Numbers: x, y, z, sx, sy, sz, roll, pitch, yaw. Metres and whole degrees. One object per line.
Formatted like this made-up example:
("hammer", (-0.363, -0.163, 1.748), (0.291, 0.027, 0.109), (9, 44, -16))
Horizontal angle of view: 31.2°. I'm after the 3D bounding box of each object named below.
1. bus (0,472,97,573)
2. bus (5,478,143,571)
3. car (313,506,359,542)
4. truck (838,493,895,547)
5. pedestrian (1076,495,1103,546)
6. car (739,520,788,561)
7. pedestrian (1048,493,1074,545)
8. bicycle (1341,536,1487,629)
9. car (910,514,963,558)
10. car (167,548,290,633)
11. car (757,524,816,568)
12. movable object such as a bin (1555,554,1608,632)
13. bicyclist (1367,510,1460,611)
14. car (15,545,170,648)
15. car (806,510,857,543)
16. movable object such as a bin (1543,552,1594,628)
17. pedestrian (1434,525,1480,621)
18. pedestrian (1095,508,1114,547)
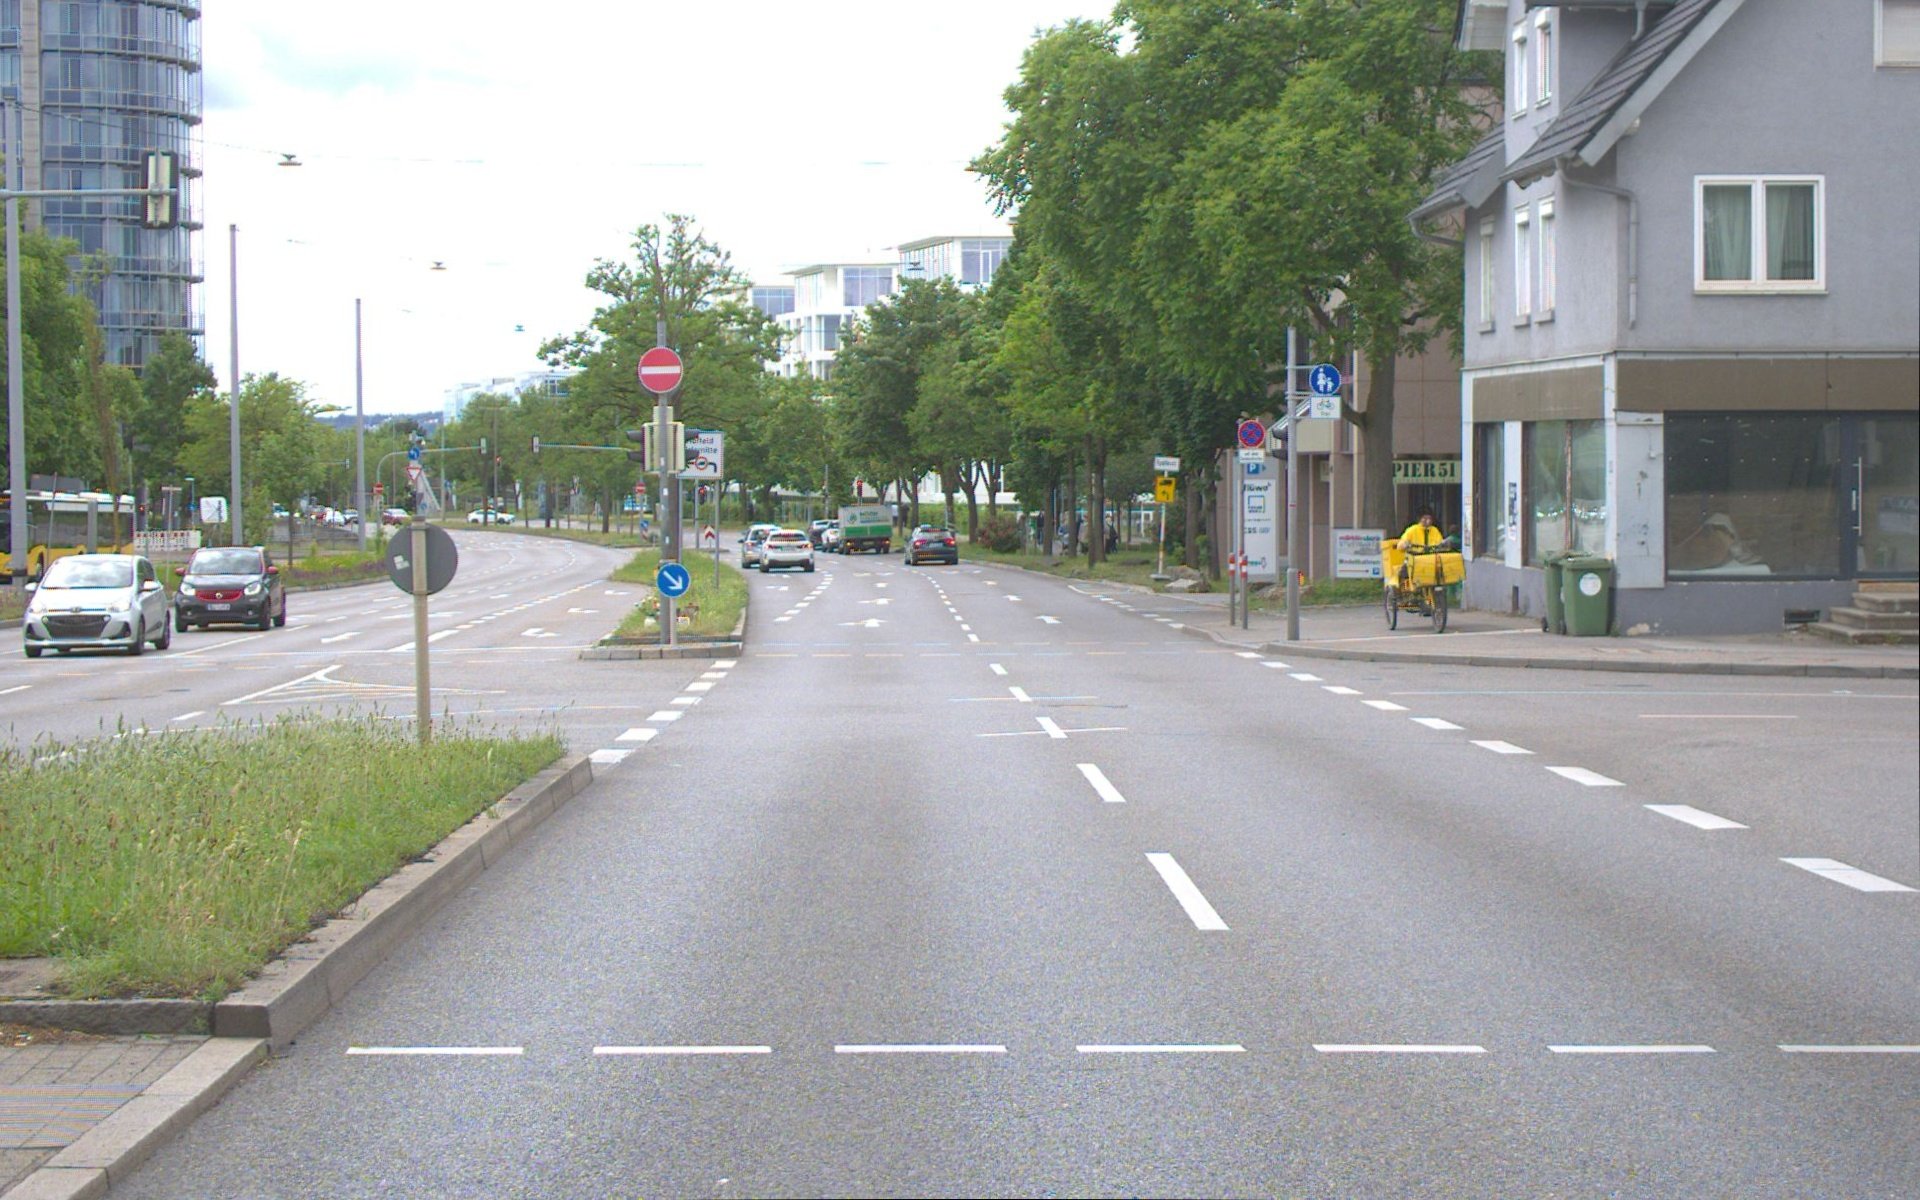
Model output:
("bus", (-31.405, -2.552, 114.462), (3.144, 3.214, 10.286), (-1, 1, -3))
("bus", (-31.745, -2.692, 123.465), (3.144, 3.214, 7.766), (-1, 1, -2))
("car", (-36.354, -4.438, 200.258), (1.965, 2.007, 4.000), (1, 1, -1))
("truck", (-4.279, -3.626, 156.469), (2.251, 2.408, 4.934), (0, 1, -5))
("pedestrian", (5.063, -3.132, 134.858), (0.971, 1.969, 0.981), (1, 0, -1))
("car", (-7.417, -2.259, 130.225), (1.822, 1.535, 4.115), (0, 1, -3))
("pedestrian", (3.961, -3.166, 134.904), (0.971, 2.007, 0.981), (1, 0, -1))
("bicycle", (6.142, -0.244, 46.681), (1.074, 1.213, 2.440), (-1, 1, -16))
("car", (-0.875, -2.375, 128.945), (1.889, 1.489, 4.098), (-2, 0, 0))
("car", (-13.389, -0.195, 63.069), (1.702, 1.487, 3.562), (-1, 1, -4))
("car", (-6.049, -1.891, 119.631), (1.993, 1.472, 4.257), (-1, 1, -3))
("movable object such as a bin", (7.960, -0.096, 44.051), (0.529, 0.976, 0.736), (-1, 1, -1))
("bicyclist", (6.150, -0.541, 46.645), (1.074, 1.352, 0.628), (-1, 1, -16))
("car", (-12.804, -0.082, 50.923), (1.684, 1.457, 3.556), (-1, 1, -5))
("car", (-6.523, -3.721, 173.860), (2.250, 1.641, 4.934), (-1, 1, -5))
("movable object such as a bin", (7.932, -0.132, 44.841), (0.529, 0.976, 0.736), (-1, 1, -1))
("pedestrian", (9.691, -0.522, 67.053), (0.705, 1.774, 0.870), (5, -3, 6))
("pedestrian", (5.815, -2.928, 138.527), (0.650, 1.564, 0.671), (-1, 1, -8))
